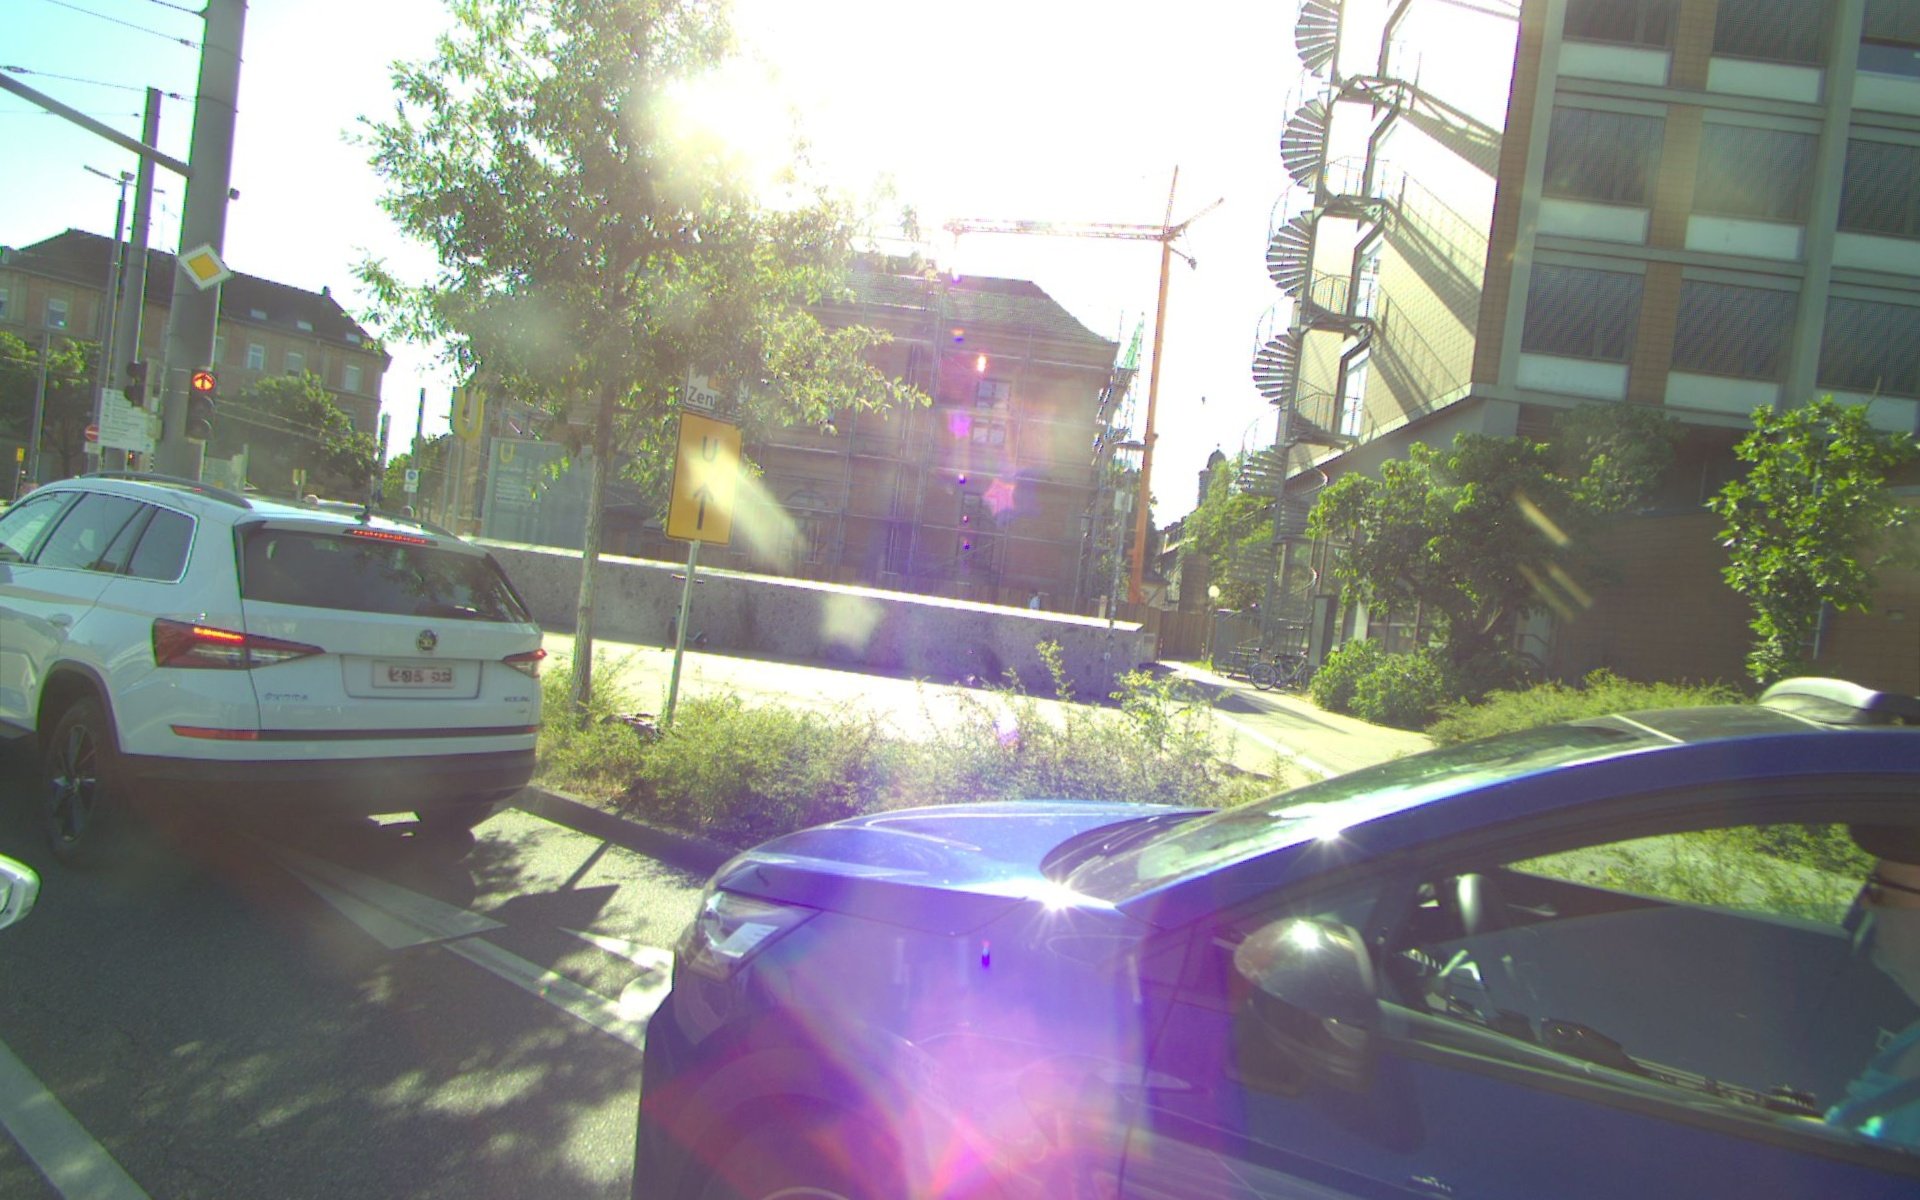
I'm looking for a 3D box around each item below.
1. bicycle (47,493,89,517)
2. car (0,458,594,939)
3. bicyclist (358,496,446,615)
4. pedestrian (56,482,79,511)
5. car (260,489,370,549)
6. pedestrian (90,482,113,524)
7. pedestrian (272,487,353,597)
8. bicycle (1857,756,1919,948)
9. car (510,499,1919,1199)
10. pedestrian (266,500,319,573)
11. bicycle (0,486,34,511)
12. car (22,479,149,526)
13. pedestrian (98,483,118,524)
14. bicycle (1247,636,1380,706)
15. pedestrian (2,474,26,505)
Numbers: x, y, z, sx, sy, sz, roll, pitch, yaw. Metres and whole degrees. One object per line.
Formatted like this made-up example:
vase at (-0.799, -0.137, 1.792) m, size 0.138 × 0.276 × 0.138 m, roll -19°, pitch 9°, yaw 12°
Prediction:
bicycle at (-51.786, -5.519, 58.421) m, size 0.540 × 1.134 × 2.019 m, roll 7°, pitch 0°, yaw 0°
car at (-4.135, 0.226, 5.415) m, size 4.226 × 1.662 × 1.697 m, roll 7°, pitch 0°, yaw 32°
bicyclist at (-9.140, -0.720, 16.485) m, size 0.907 × 1.802 × 0.748 m, roll 7°, pitch 2°, yaw 25°
pedestrian at (-51.725, -5.991, 58.294) m, size 0.538 × 1.536 × 0.706 m, roll 7°, pitch 1°, yaw -1°
car at (-38.950, -4.829, 60.944) m, size 2.103 × 2.778 × 5.926 m, roll 7°, pitch 0°, yaw 6°
pedestrian at (-44.317, -5.013, 51.940) m, size 0.443 × 2.039 × 0.574 m, roll 7°, pitch 1°, yaw 16°
pedestrian at (-10.010, -0.890, 15.550) m, size 0.843 × 1.582 × 0.549 m, roll 7°, pitch 1°, yaw 25°
bicycle at (6.749, 1.694, 6.137) m, size 1.711 × 1.139 × 0.572 m, roll 7°, pitch 0°, yaw 31°
car at (1.286, 0.887, 1.636) m, size 4.017 × 1.625 × 1.702 m, roll 7°, pitch 0°, yaw 33°
pedestrian at (-18.570, -1.755, 28.010) m, size 0.886 × 1.883 × 0.922 m, roll 7°, pitch 1°, yaw -22°
bicycle at (-50.259, -5.408, 53.497) m, size 0.540 × 1.134 × 2.012 m, roll 7°, pitch 0°, yaw -15°
car at (-41.946, -4.630, 48.388) m, size 1.673 × 1.521 × 4.265 m, roll 7°, pitch 0°, yaw 19°
pedestrian at (-44.630, -5.056, 52.706) m, size 0.443 × 2.039 × 0.462 m, roll 7°, pitch 1°, yaw 16°
bicycle at (9.277, 1.841, 26.499) m, size 3.079 × 1.394 × 0.798 m, roll 7°, pitch 1°, yaw 10°
pedestrian at (-50.176, -5.852, 53.360) m, size 0.540 × 1.536 × 0.704 m, roll 7°, pitch 1°, yaw -15°
